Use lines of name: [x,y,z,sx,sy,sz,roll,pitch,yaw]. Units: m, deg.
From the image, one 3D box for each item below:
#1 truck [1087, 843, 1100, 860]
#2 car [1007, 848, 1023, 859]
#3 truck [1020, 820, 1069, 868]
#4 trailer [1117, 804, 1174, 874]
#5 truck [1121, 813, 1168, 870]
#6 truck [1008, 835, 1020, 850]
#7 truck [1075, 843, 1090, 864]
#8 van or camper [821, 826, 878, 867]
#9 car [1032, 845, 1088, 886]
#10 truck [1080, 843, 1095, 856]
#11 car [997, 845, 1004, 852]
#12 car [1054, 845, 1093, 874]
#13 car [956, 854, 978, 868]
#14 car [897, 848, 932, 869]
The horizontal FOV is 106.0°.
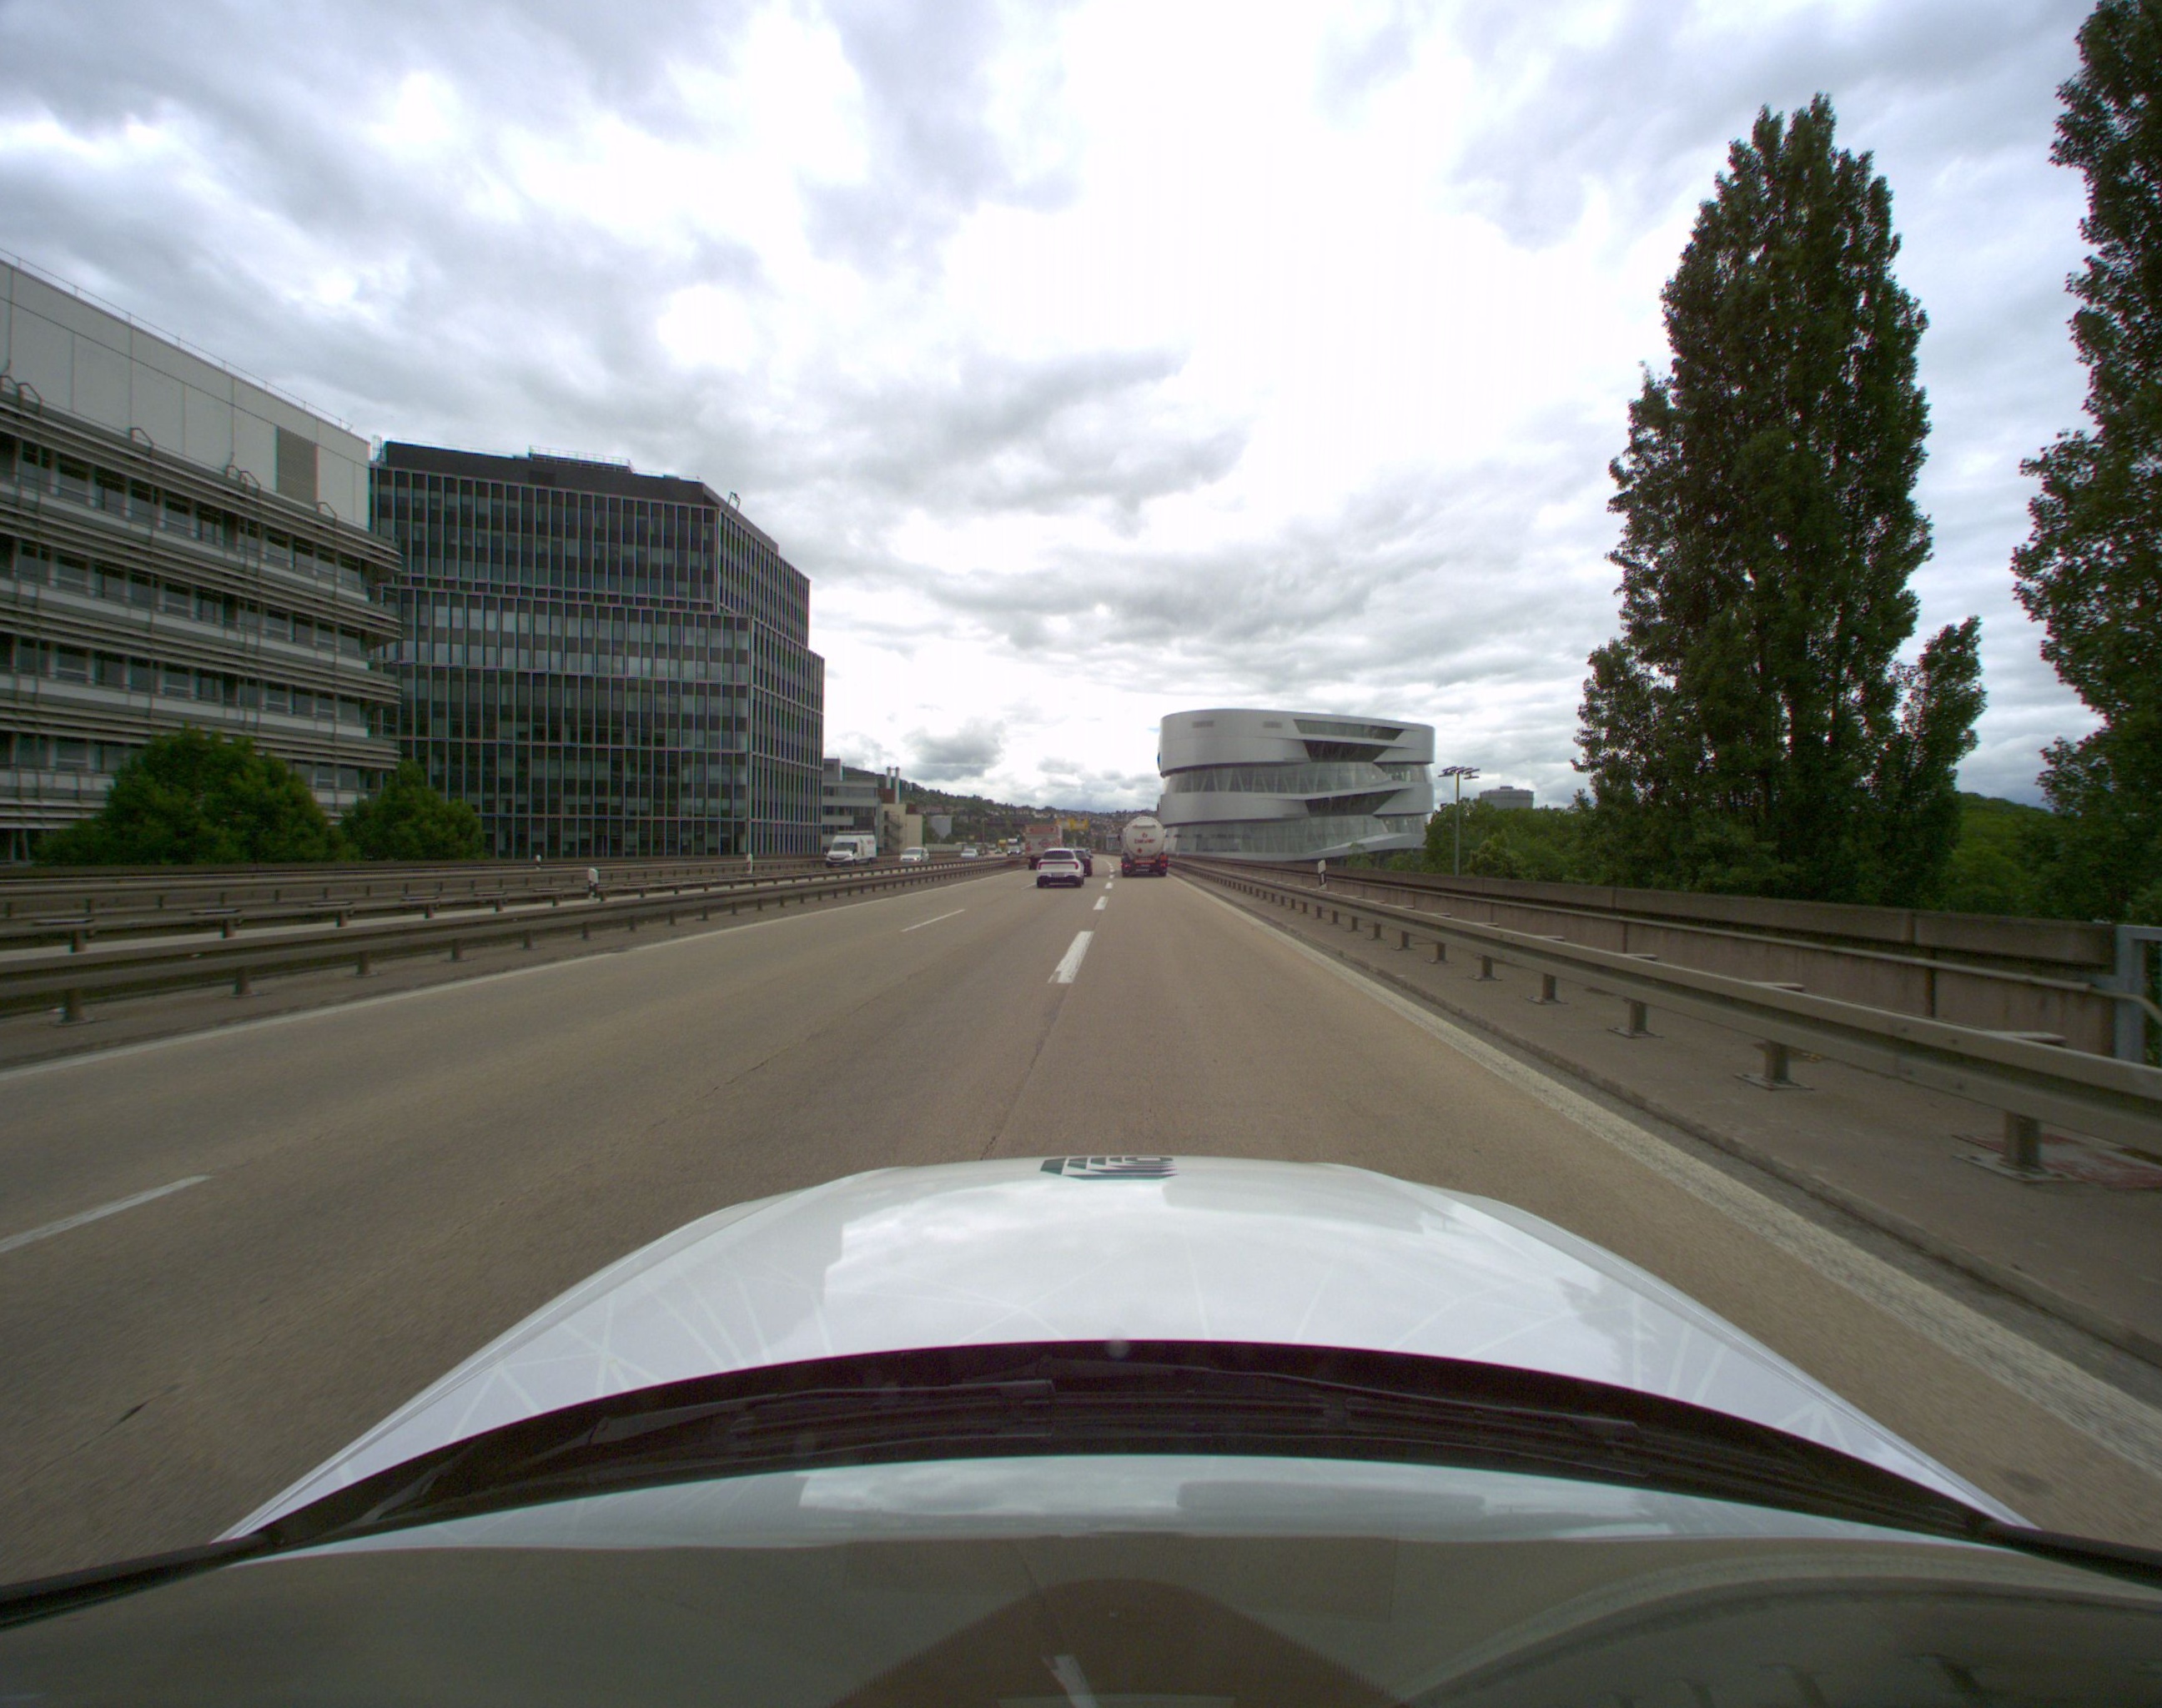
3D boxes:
truck: [3.367,-0.647,218.051,3.049,4.562,8.298,-1,0,-2]
car: [-9.866,-0.067,121.268,1.755,1.650,4.338,2,0,3]
truck: [-2.850,-0.739,66.988,3.043,3.690,8.313,-1,0,4]
trailer: [3.844,-0.795,48.815,3.043,3.790,8.313,-1,0,4]
truck: [4.288,-0.803,55.756,3.002,3.657,6.278,-1,0,3]
truck: [-18.285,-3.138,221.963,2.764,4.079,5.643,-1,0,-1]
truck: [0.214,-0.171,180.648,3.049,4.562,8.298,-1,0,-2]
van or camper: [-17.836,-0.557,63.085,2.163,3.008,7.120,-1,0,1]
car: [-0.843,0.480,35.612,1.985,1.675,4.413,-1,0,4]
truck: [1.181,-0.711,137.557,2.246,2.164,5.072,-1,0,3]
car: [-21.278,-1.492,215.682,1.678,1.650,4.357,1,0,-1]
car: [-0.409,0.332,48.779,1.985,1.675,4.413,-1,0,4]
car: [-13.473,0.821,96.449,1.676,1.650,4.452,1,0,4]
car: [-13.560,0.326,66.622,1.676,1.650,4.316,1,0,4]
